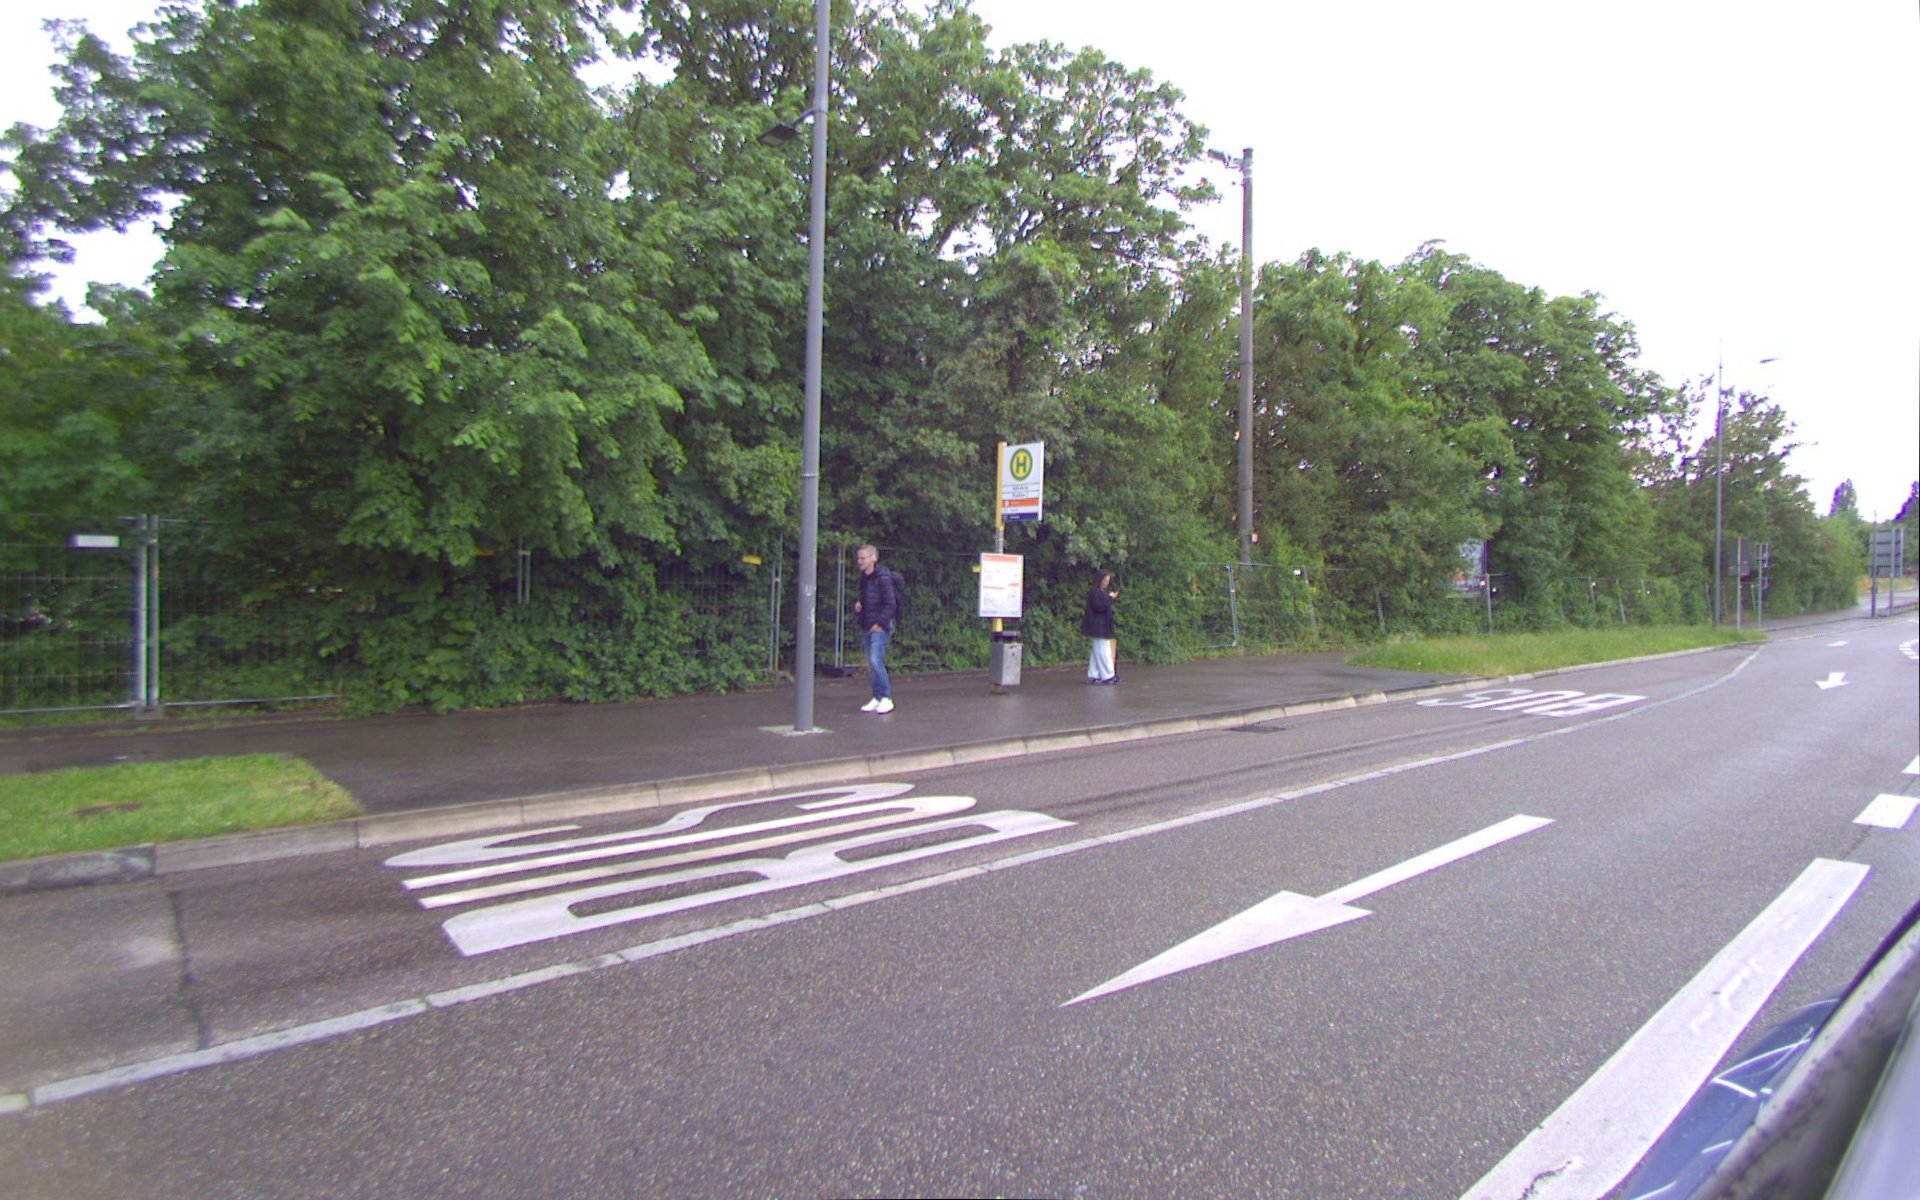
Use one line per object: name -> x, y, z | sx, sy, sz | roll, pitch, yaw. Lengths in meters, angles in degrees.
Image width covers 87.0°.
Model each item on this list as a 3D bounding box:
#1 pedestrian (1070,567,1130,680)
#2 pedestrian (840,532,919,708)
pedestrian -> 2.094, 0.331, 15.178 | 0.650, 1.648, 0.588 | 0, 1, -40
pedestrian -> -0.949, 0.216, 11.835 | 0.587, 1.973, 0.742 | 0, 1, -40
